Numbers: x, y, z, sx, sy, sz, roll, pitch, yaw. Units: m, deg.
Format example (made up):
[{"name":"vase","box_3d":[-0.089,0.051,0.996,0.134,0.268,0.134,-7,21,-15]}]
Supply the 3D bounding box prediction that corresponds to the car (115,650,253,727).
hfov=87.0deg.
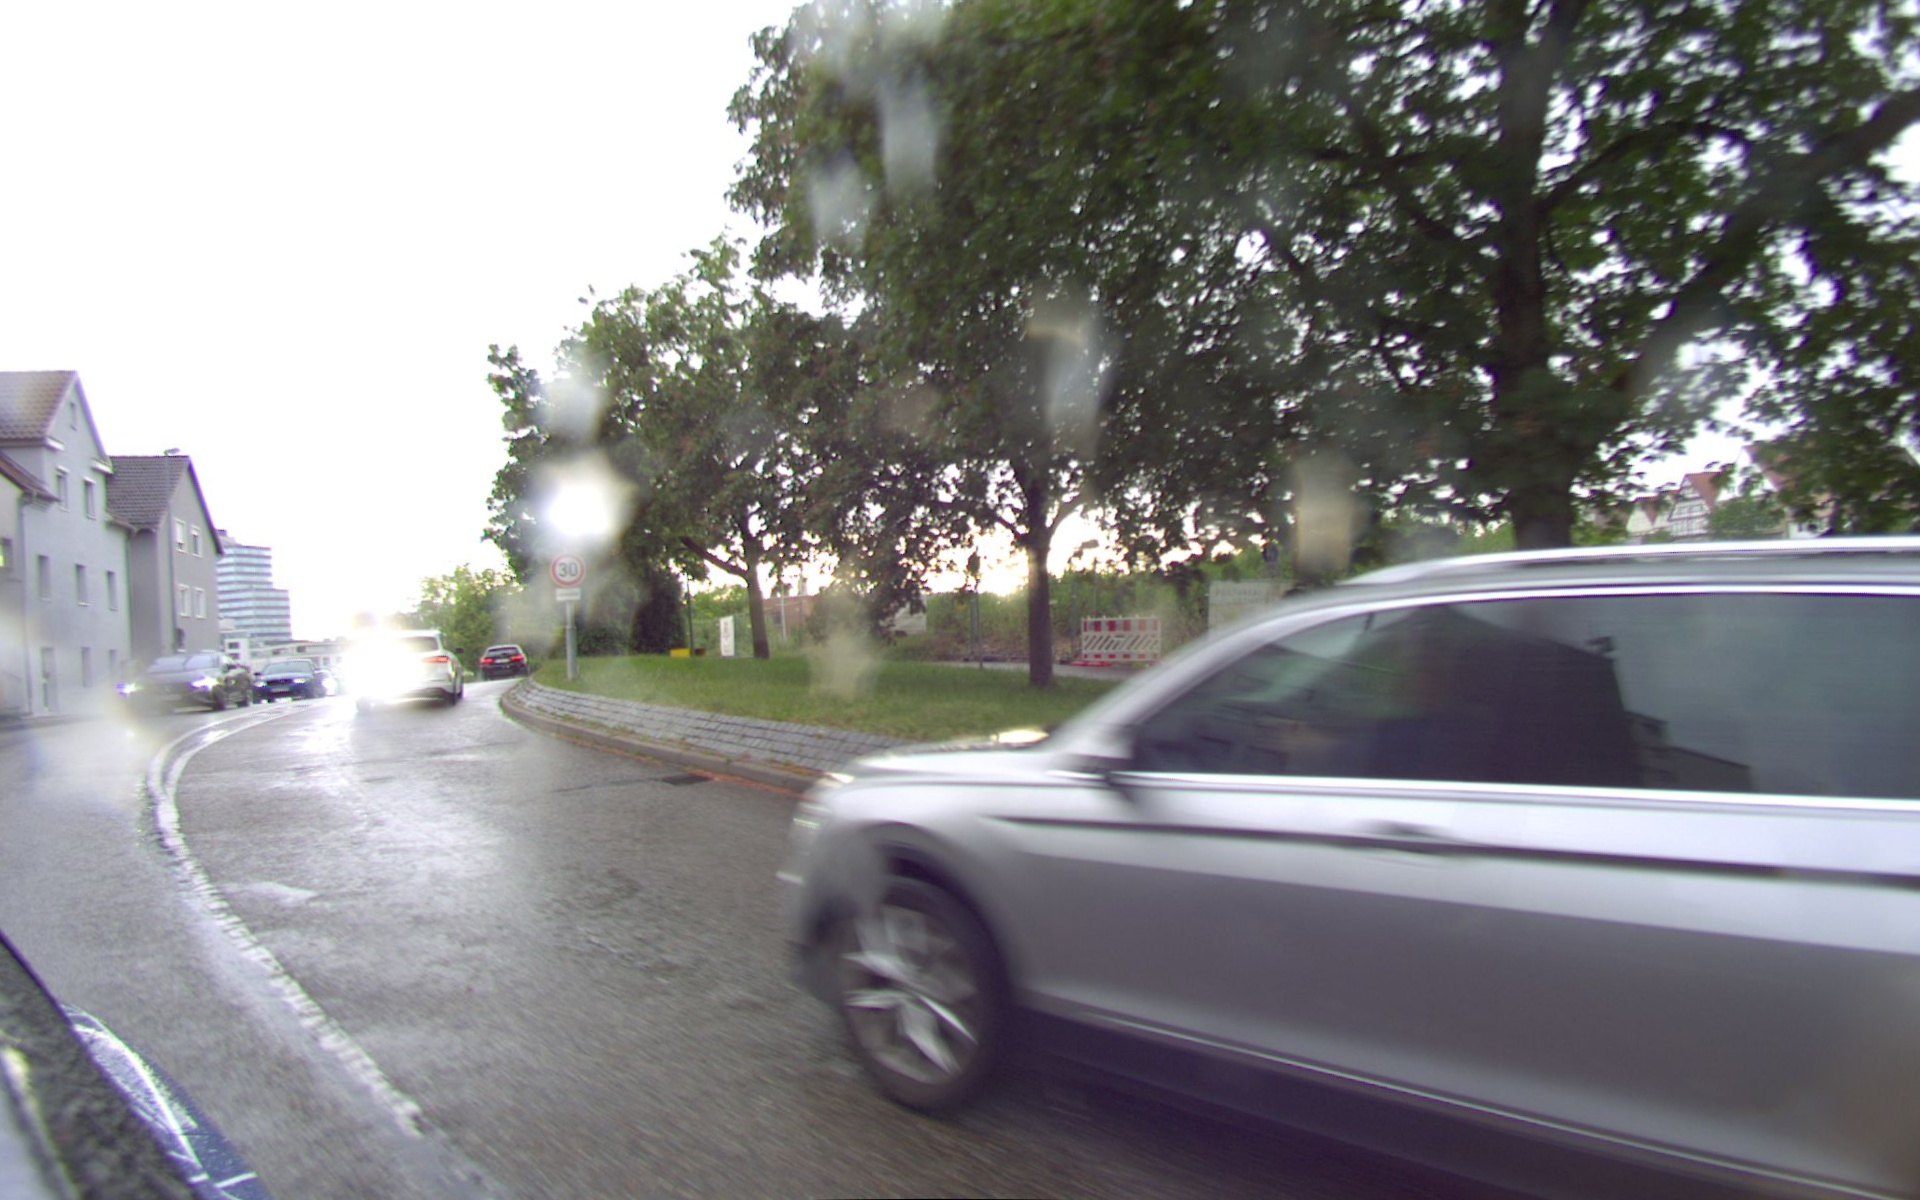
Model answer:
[{"name":"car","box_3d":[-19.261,2.197,25.353,1.808,1.525,4.863,-6,-2,-27]}]

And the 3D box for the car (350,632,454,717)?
[{"name":"car","box_3d":[-11.609,1.487,21.190,1.699,1.516,4.271,-2,-1,-28]}]

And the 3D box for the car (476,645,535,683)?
[{"name":"car","box_3d":[-19.255,2.674,43.001,1.712,1.421,4.066,-3,-1,-17]}]

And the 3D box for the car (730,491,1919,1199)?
[{"name":"car","box_3d":[1.471,0.631,2.682,4.293,1.555,1.712,-1,-2,37]}]

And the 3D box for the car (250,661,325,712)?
[{"name":"car","box_3d":[-22.784,2.991,34.433,1.761,1.357,4.959,-4,-4,-30]}]

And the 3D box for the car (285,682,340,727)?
[{"name":"car","box_3d":[-30.062,4.908,47.119,1.870,1.671,4.958,-4,-5,-31]}]
